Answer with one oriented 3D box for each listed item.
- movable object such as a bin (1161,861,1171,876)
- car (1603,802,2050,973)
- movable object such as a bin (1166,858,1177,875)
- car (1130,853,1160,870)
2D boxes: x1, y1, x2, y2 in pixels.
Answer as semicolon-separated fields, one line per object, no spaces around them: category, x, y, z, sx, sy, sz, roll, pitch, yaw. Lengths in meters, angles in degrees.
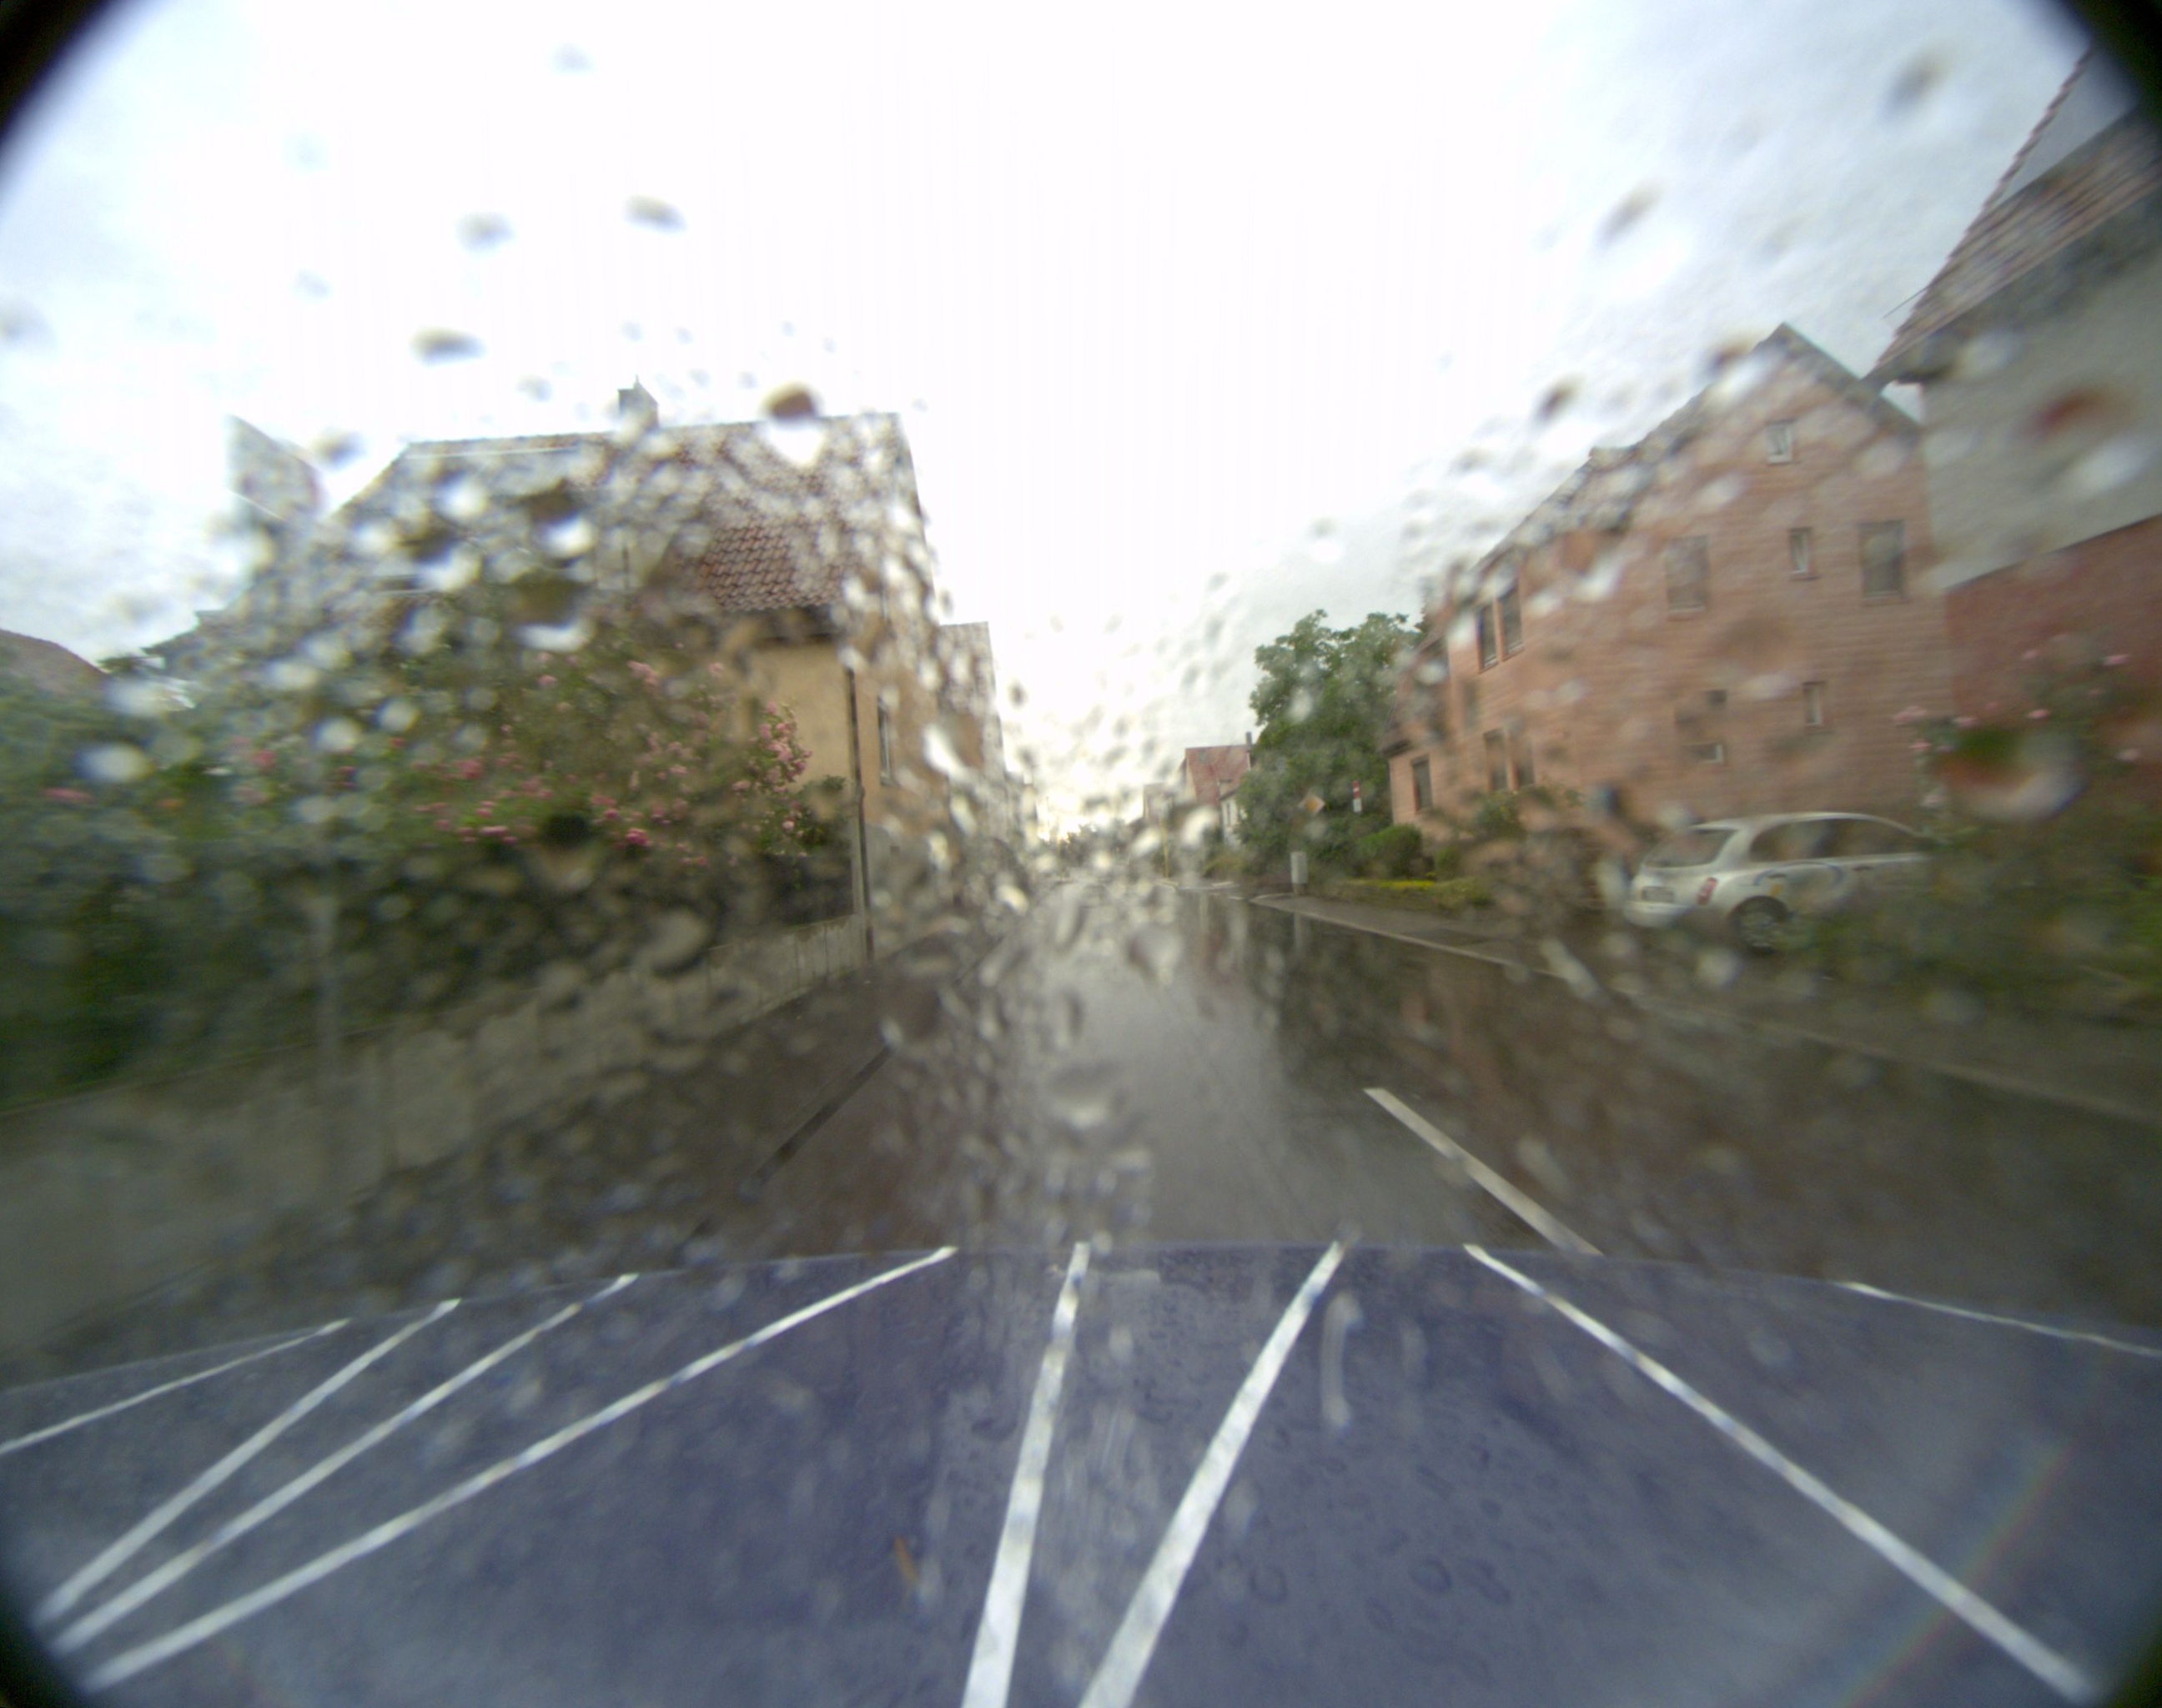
movable object such as a bin;5.501;0.945;49.072;0.469;0.933;0.455;-7;-2;2
car;8.642;0.372;9.070;3.553;1.520;1.663;-6;0;1
movable object such as a bin;5.858;0.805;49.443;0.554;1.076;0.527;-7;0;2
car;9.501;1.083;113.544;3.998;1.963;1.873;9;-1;-3
